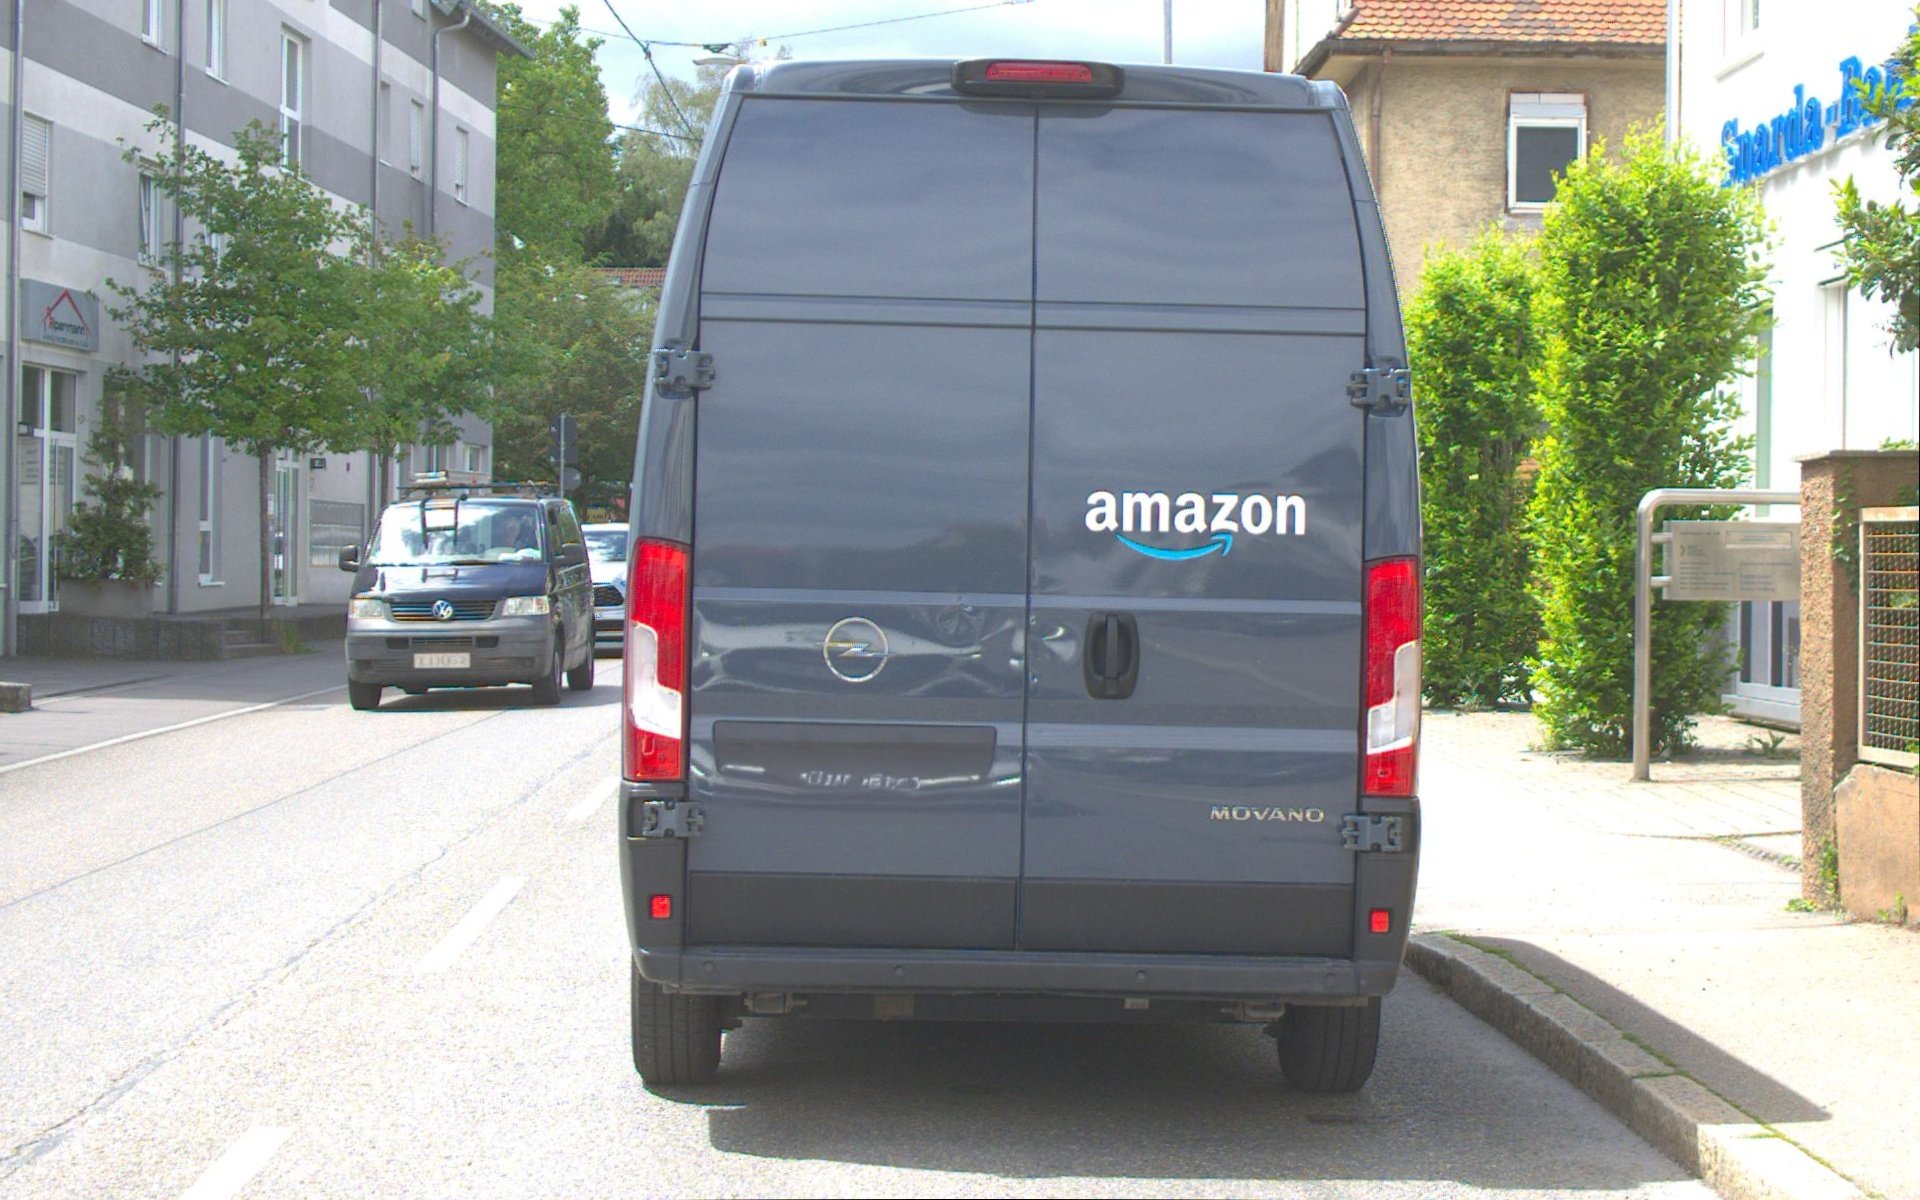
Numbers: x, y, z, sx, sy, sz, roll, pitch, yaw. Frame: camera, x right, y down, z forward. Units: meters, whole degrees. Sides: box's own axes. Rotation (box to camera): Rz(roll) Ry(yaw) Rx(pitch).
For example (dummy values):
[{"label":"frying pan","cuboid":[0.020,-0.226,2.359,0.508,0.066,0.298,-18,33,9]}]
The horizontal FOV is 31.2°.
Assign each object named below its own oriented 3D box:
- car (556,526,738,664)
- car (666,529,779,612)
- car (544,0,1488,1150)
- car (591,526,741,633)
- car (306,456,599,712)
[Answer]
[{"label":"car","cuboid":[-4.041,-0.105,45.072,2.105,1.704,4.766,0,1,-2]},{"label":"car","cuboid":[-4.731,-0.617,69.117,2.105,1.590,4.650,0,1,-2]},{"label":"car","cuboid":[0.056,-0.118,11.062,2.252,2.786,5.570,0,1,-2]},{"label":"car","cuboid":[-4.558,-0.344,53.821,2.105,1.590,4.650,0,1,-2]},{"label":"car","cuboid":[-4.550,-0.179,31.527,2.105,2.114,4.766,-1,1,-2]}]
